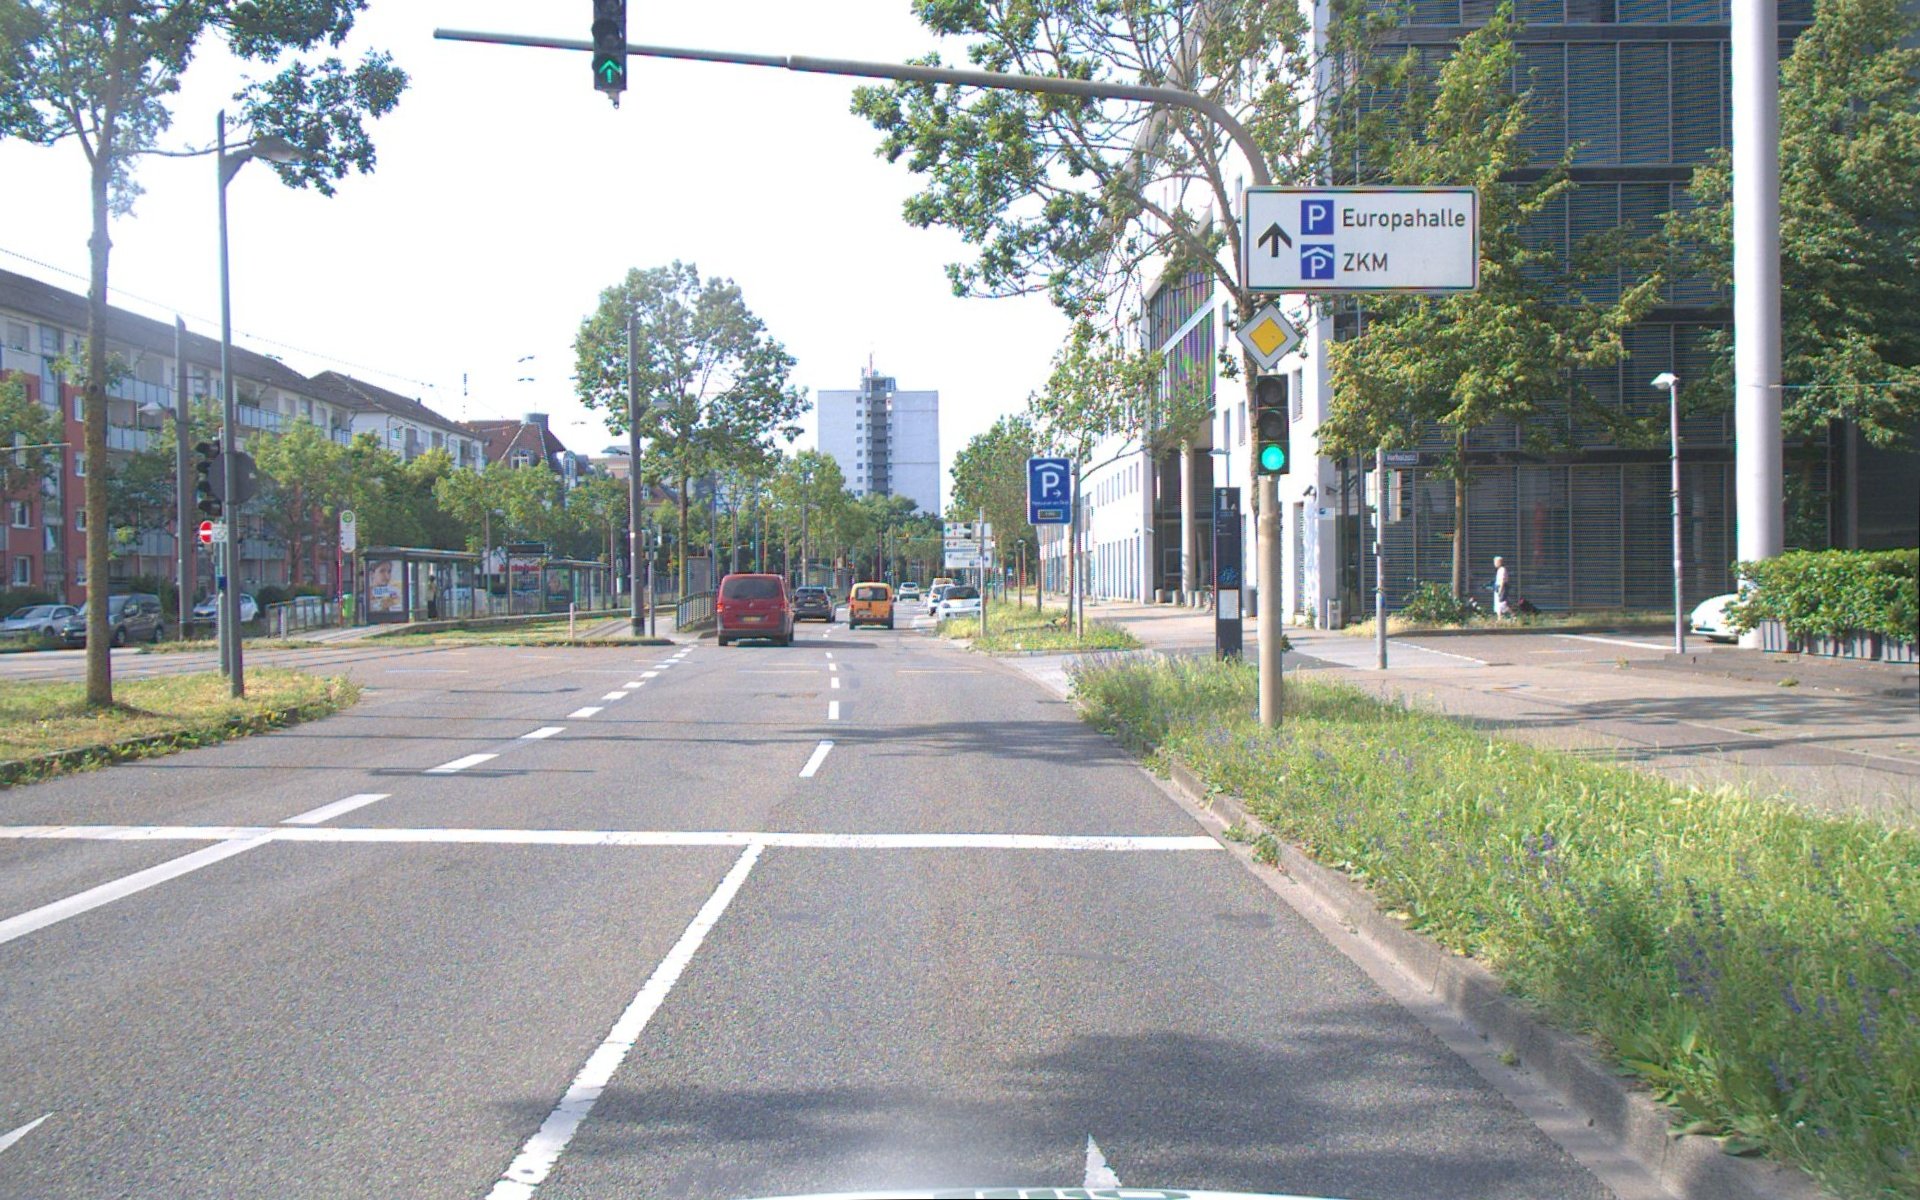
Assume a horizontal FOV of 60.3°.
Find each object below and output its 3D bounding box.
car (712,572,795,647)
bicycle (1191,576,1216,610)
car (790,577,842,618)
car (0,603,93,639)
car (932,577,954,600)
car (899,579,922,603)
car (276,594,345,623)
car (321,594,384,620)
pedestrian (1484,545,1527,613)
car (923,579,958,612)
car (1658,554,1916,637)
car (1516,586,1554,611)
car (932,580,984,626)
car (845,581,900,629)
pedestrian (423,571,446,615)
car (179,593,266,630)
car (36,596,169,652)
[{"bbox_3d":[-5.516,0.222,44.514,1.837,1.885,3.999,-1,1,-2],"label":"car"},{"bbox_3d":[8.289,-0.240,56.258,0.484,1.105,1.549,-3,1,-4],"label":"bicycle"},{"bbox_3d":[-6.249,-0.126,72.273,1.953,1.735,3.999,-1,0,-1],"label":"car"},{"bbox_3d":[-32.621,0.735,58.474,1.796,1.168,4.163,1,0,-2],"label":"car"},{"bbox_3d":[-1.523,-1.034,147.672,1.953,2.049,3.999,-1,0,-1],"label":"car"},{"bbox_3d":[-4.367,-0.816,146.622,1.953,2.049,3.999,-1,0,-2],"label":"car"},{"bbox_3d":[-33.033,0.404,84.217,1.941,1.384,4.068,1,0,-2],"label":"car"},{"bbox_3d":[-32.828,0.365,89.474,1.941,1.384,4.068,1,0,-2],"label":"car"},{"bbox_3d":[13.370,-0.520,40.547,0.761,1.644,0.713,-1,0,-2],"label":"pedestrian"},{"bbox_3d":[-0.968,-0.242,83.790,1.654,1.552,3.850,-3,1,-1],"label":"car"},{"bbox_3d":[16.528,-0.114,33.202,4.233,1.490,1.901,-2,1,-1],"label":"car"},{"bbox_3d":[14.139,-0.032,40.650,0.750,0.598,0.498,-1,0,-2],"label":"car"},{"bbox_3d":[-0.090,0.087,57.605,1.685,1.545,3.780,-1,0,-2],"label":"car"},{"bbox_3d":[-3.248,0.153,62.036,1.837,1.726,3.973,-1,1,0],"label":"car"},{"bbox_3d":[-20.006,-0.270,63.004,0.658,1.682,0.794,-1,0,-5],"label":"pedestrian"},{"bbox_3d":[-33.079,0.479,74.332,1.941,1.583,4.536,1,0,-2],"label":"car"},{"bbox_3d":[-28.555,0.770,55.246,1.953,1.735,4.713,-1,0,0],"label":"car"}]
